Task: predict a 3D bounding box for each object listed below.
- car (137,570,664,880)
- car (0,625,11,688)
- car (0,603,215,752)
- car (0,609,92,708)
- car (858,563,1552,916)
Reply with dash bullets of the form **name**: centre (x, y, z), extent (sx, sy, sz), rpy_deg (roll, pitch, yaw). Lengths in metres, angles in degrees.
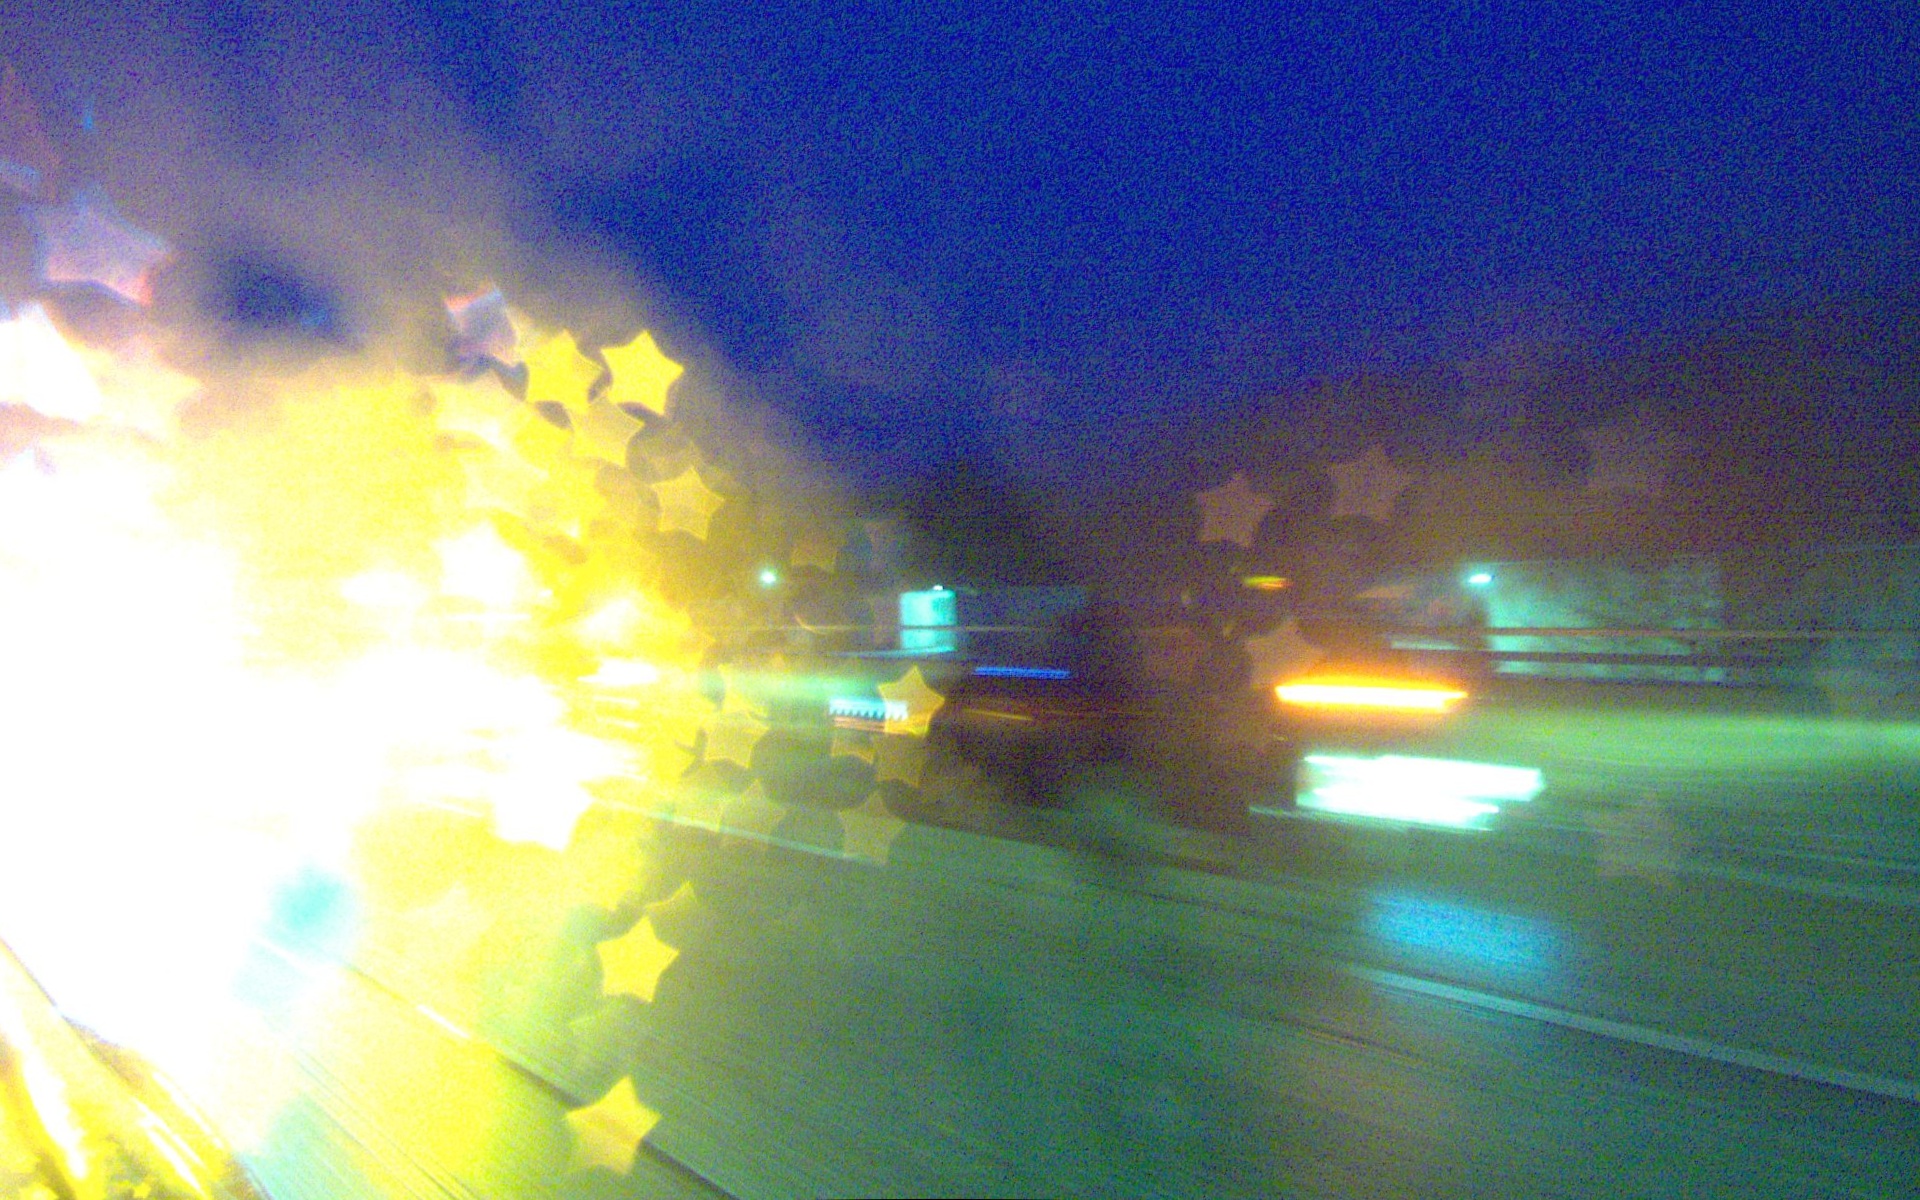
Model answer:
- **car**: centre (-4.281, 0.697, 7.442), extent (4.409, 1.642, 1.788), rpy_deg (-2, 0, 38)
- **car**: centre (-24.329, 1.375, 24.420), extent (3.881, 1.484, 1.606), rpy_deg (-2, -1, 40)
- **car**: centre (-11.390, 0.896, 13.207), extent (4.596, 1.587, 1.824), rpy_deg (-2, -1, 43)
- **car**: centre (-17.873, 1.058, 18.943), extent (4.442, 1.681, 1.825), rpy_deg (-2, -1, 41)
- **car**: centre (1.303, 0.628, 6.283), extent (3.826, 1.519, 1.702), rpy_deg (-2, 0, 42)
